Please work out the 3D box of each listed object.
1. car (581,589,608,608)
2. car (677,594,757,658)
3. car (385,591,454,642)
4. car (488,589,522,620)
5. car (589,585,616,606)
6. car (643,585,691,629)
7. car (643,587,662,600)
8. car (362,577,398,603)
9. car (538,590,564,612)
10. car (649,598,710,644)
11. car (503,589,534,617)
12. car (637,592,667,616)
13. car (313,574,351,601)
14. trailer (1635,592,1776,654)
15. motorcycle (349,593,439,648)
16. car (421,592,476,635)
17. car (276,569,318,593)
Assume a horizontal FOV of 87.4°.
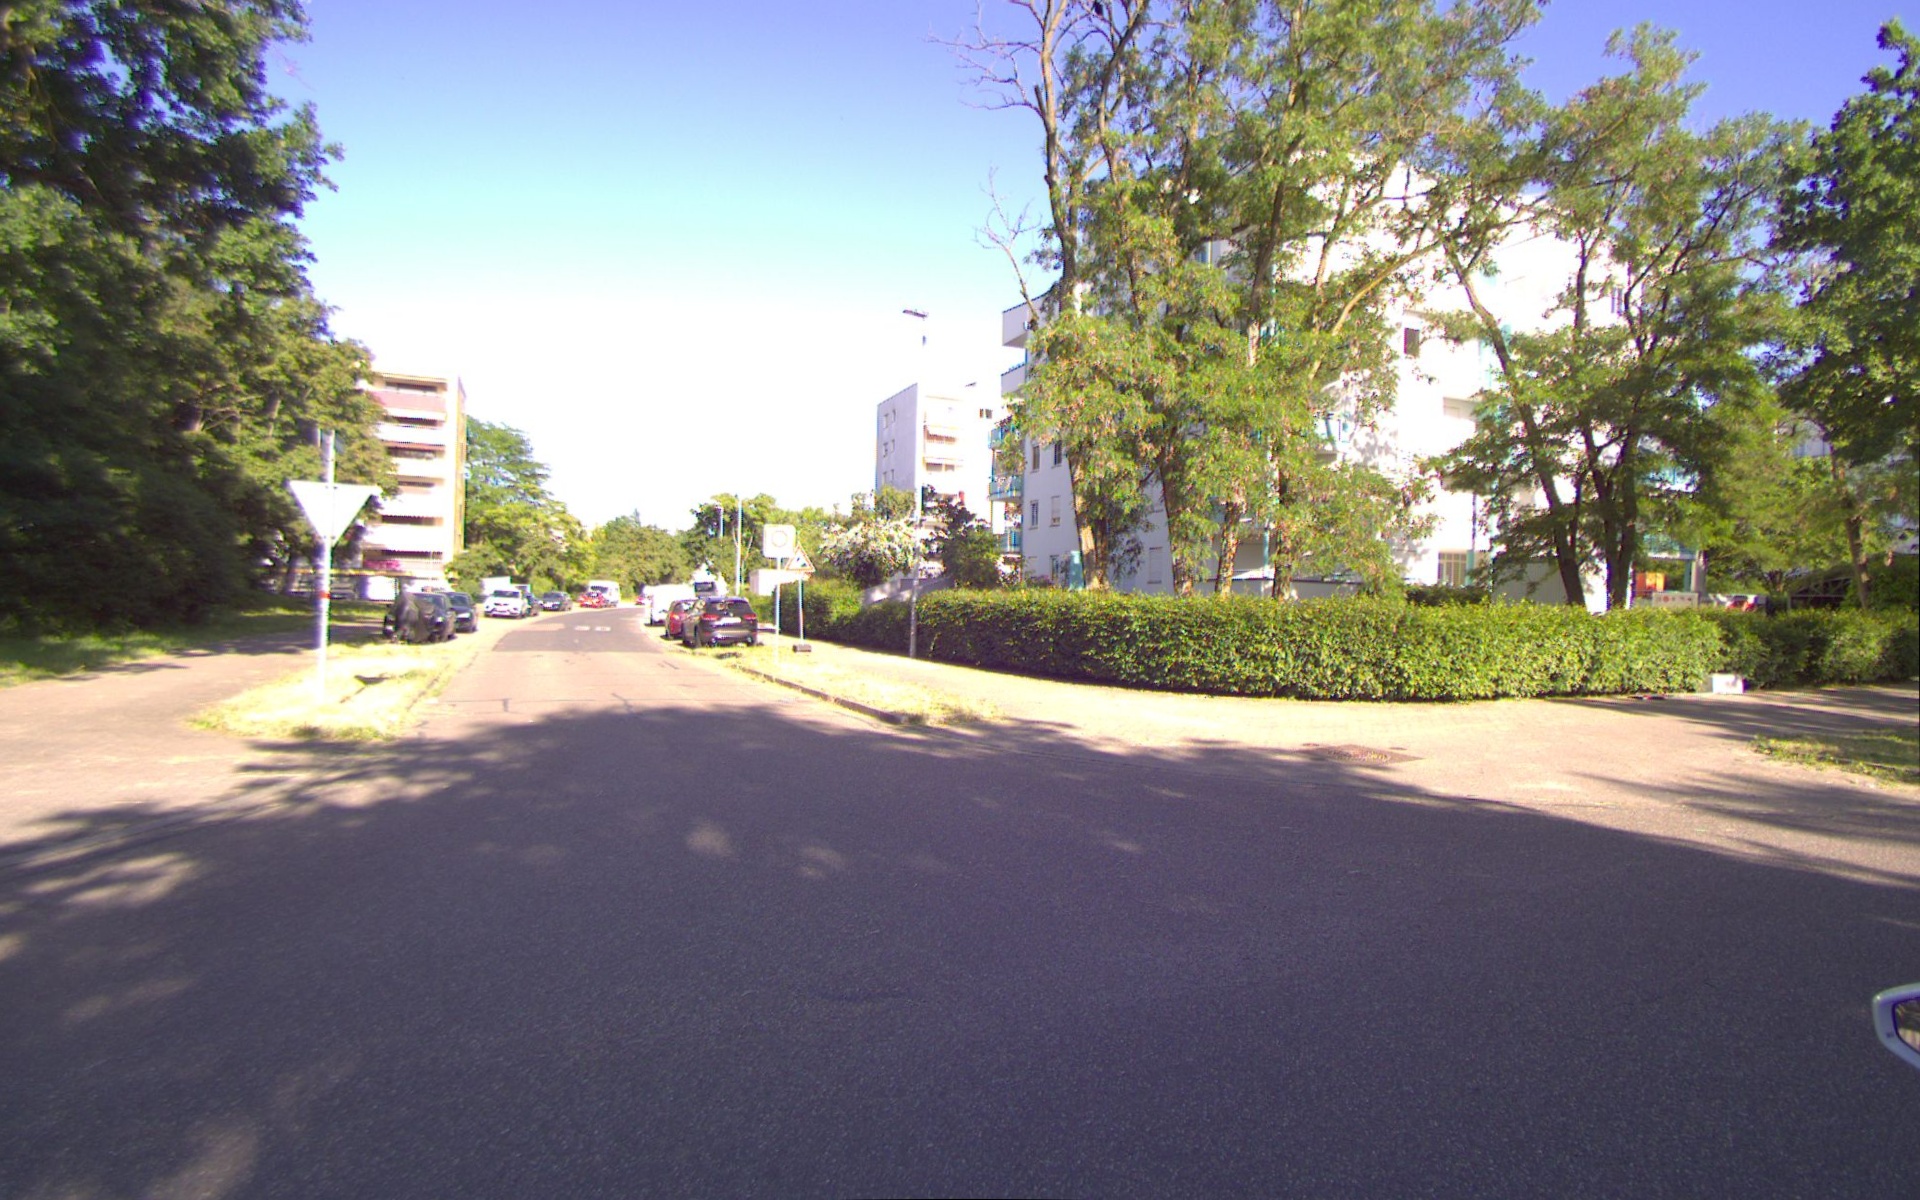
[{"bbox_3d":[-33.397,-0.149,91.777,1.796,1.617,3.989,2,0,-13],"label":"car"},{"bbox_3d":[-7.554,0.758,30.991,1.732,1.808,3.813,1,0,-24],"label":"car"},{"bbox_3d":[-16.248,0.475,30.303,1.538,1.410,3.567,1,0,-24],"label":"car"},{"bbox_3d":[-24.742,0.232,54.665,1.623,1.578,3.813,1,0,-24],"label":"car"},{"bbox_3d":[-34.403,-0.464,96.828,1.950,1.925,3.989,2,0,-13],"label":"car"},{"bbox_3d":[-14.732,0.298,50.359,1.803,2.088,3.813,1,0,-24],"label":"car"},{"bbox_3d":[-38.589,-0.817,126.066,1.860,1.662,3.991,2,0,-12],"label":"car"},{"bbox_3d":[-41.202,-0.733,71.421,1.738,1.767,3.813,1,0,-24],"label":"car"},{"bbox_3d":[-30.067,0.061,73.828,1.623,1.578,3.813,1,0,-24],"label":"car"},{"bbox_3d":[-10.449,0.744,37.264,1.615,1.531,3.813,1,0,-24],"label":"car"},{"bbox_3d":[-26.399,0.154,60.094,1.623,1.578,3.813,1,0,-24],"label":"car"},{"bbox_3d":[-20.036,0.237,65.308,1.499,1.486,3.056,1,0,-23],"label":"car"},{"bbox_3d":[-44.051,-0.867,70.514,1.738,1.767,3.813,1,0,-24],"label":"car"},{"bbox_3d":[26.128,0.805,35.231,4.365,2.070,1.973,1,0,-22],"label":"trailer"},{"bbox_3d":[-14.865,0.533,26.418,0.664,1.362,1.955,2,0,35],"label":"motorcycle"},{"bbox_3d":[-18.457,0.465,36.353,1.538,1.410,3.567,1,0,-24],"label":"car"},{"bbox_3d":[-45.666,-1.312,69.258,1.775,1.547,3.813,1,0,-24],"label":"car"}]
